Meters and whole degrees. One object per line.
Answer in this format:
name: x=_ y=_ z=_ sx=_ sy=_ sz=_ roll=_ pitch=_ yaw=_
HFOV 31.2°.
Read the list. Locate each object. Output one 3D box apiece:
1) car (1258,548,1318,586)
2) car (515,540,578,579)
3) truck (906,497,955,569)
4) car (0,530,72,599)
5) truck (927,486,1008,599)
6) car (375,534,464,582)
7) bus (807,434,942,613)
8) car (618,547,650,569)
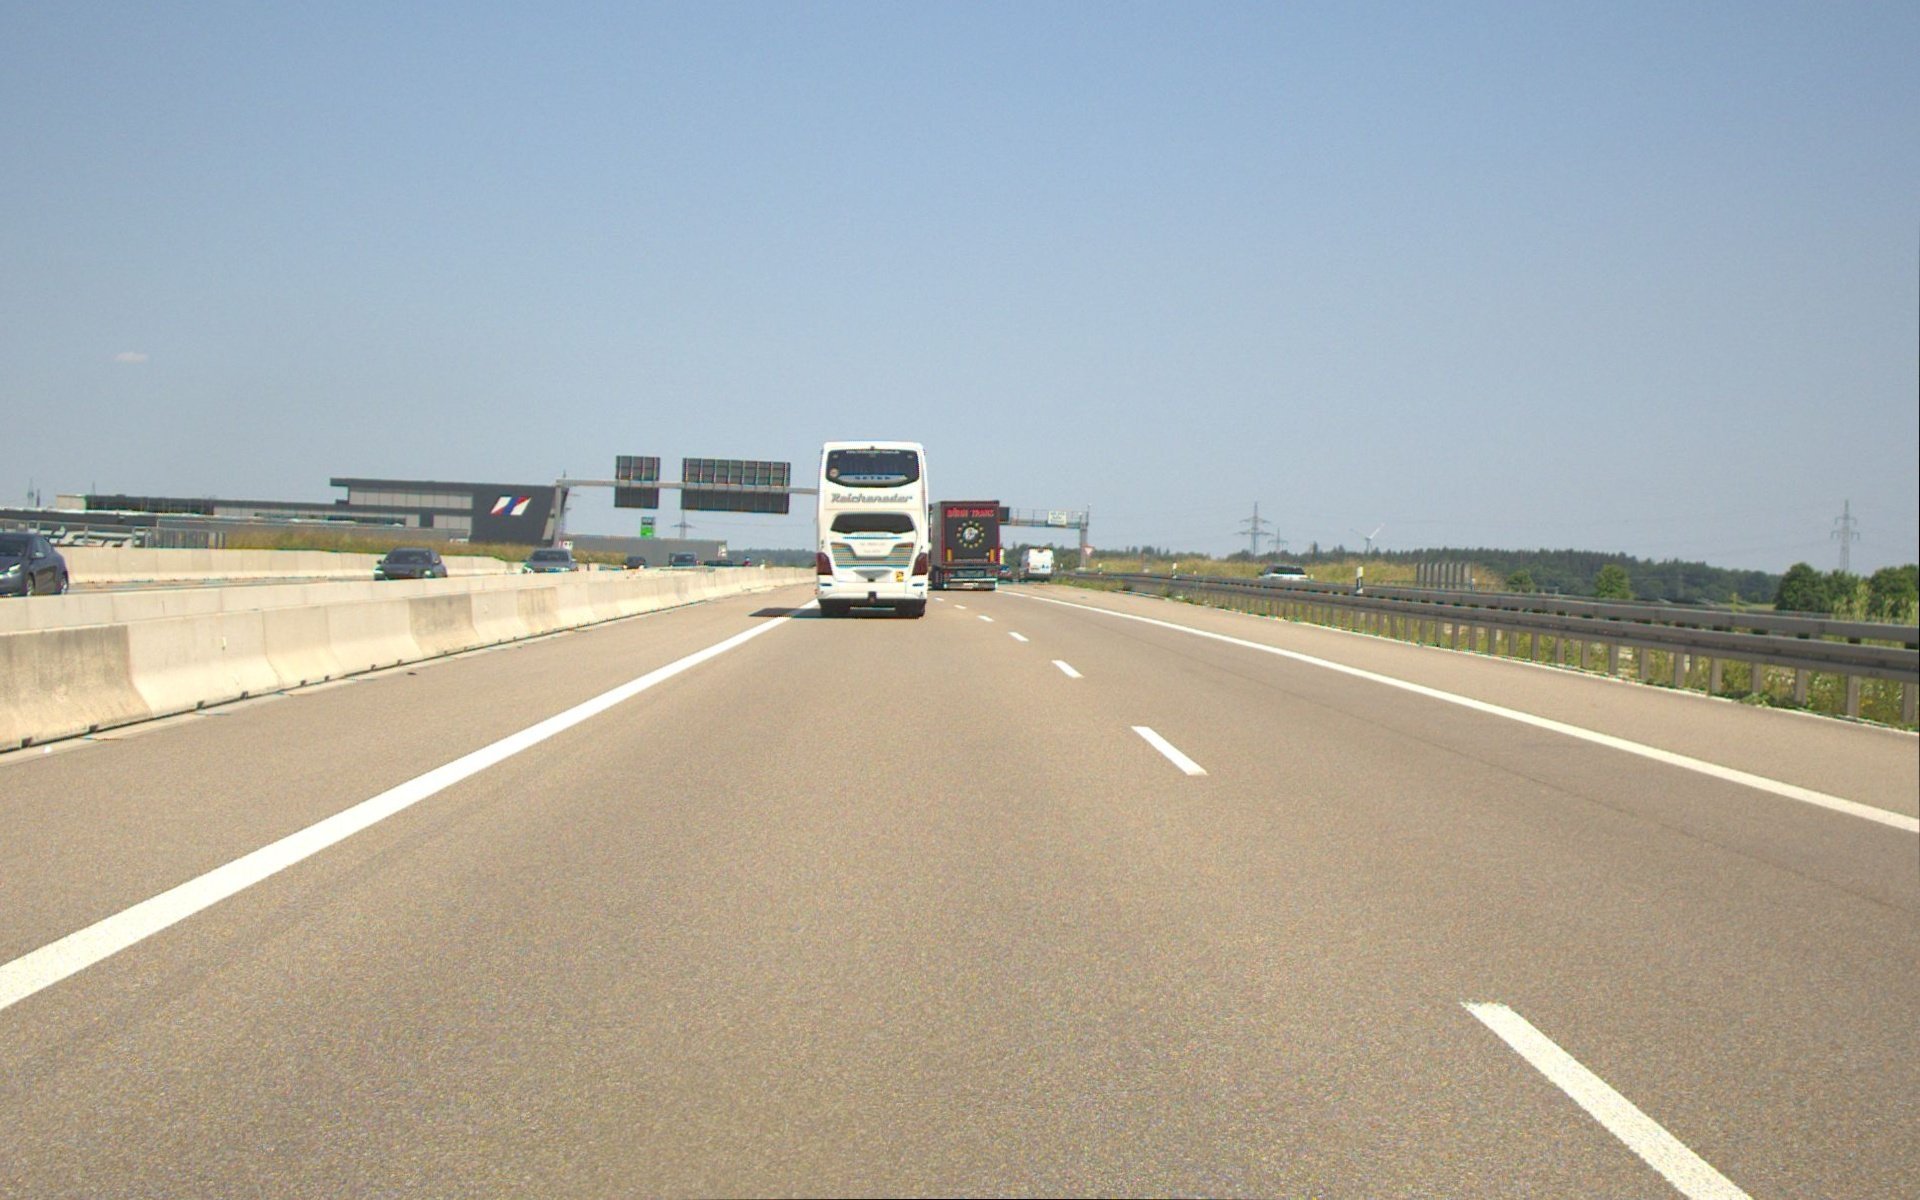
car: x=13.799 y=-1.394 z=144.904 sx=1.891 sy=1.524 sz=4.262 roll=1 pitch=1 yaw=-3
car: x=-15.465 y=-1.537 z=128.748 sx=1.842 sy=1.415 sz=4.525 roll=1 pitch=1 yaw=-1
truck: x=-1.637 y=-3.608 z=185.897 sx=2.437 sy=3.776 sz=6.494 roll=1 pitch=1 yaw=-2
car: x=-20.411 y=-0.780 z=73.115 sx=1.911 sy=1.415 sz=4.550 roll=1 pitch=1 yaw=-1
truck: x=0.423 y=-2.523 z=156.218 sx=3.379 sy=4.449 sz=13.566 roll=2 pitch=-2 yaw=1
car: x=-16.680 y=-1.298 z=106.331 sx=1.912 sy=1.415 sz=4.908 roll=1 pitch=1 yaw=1
bus: x=-2.101 y=-1.799 z=81.897 sx=2.980 sy=3.961 sz=9.106 roll=1 pitch=1 yaw=-2
car: x=-22.644 y=-2.900 z=238.937 sx=1.910 sy=1.454 sz=4.285 roll=1 pitch=1 yaw=-2
